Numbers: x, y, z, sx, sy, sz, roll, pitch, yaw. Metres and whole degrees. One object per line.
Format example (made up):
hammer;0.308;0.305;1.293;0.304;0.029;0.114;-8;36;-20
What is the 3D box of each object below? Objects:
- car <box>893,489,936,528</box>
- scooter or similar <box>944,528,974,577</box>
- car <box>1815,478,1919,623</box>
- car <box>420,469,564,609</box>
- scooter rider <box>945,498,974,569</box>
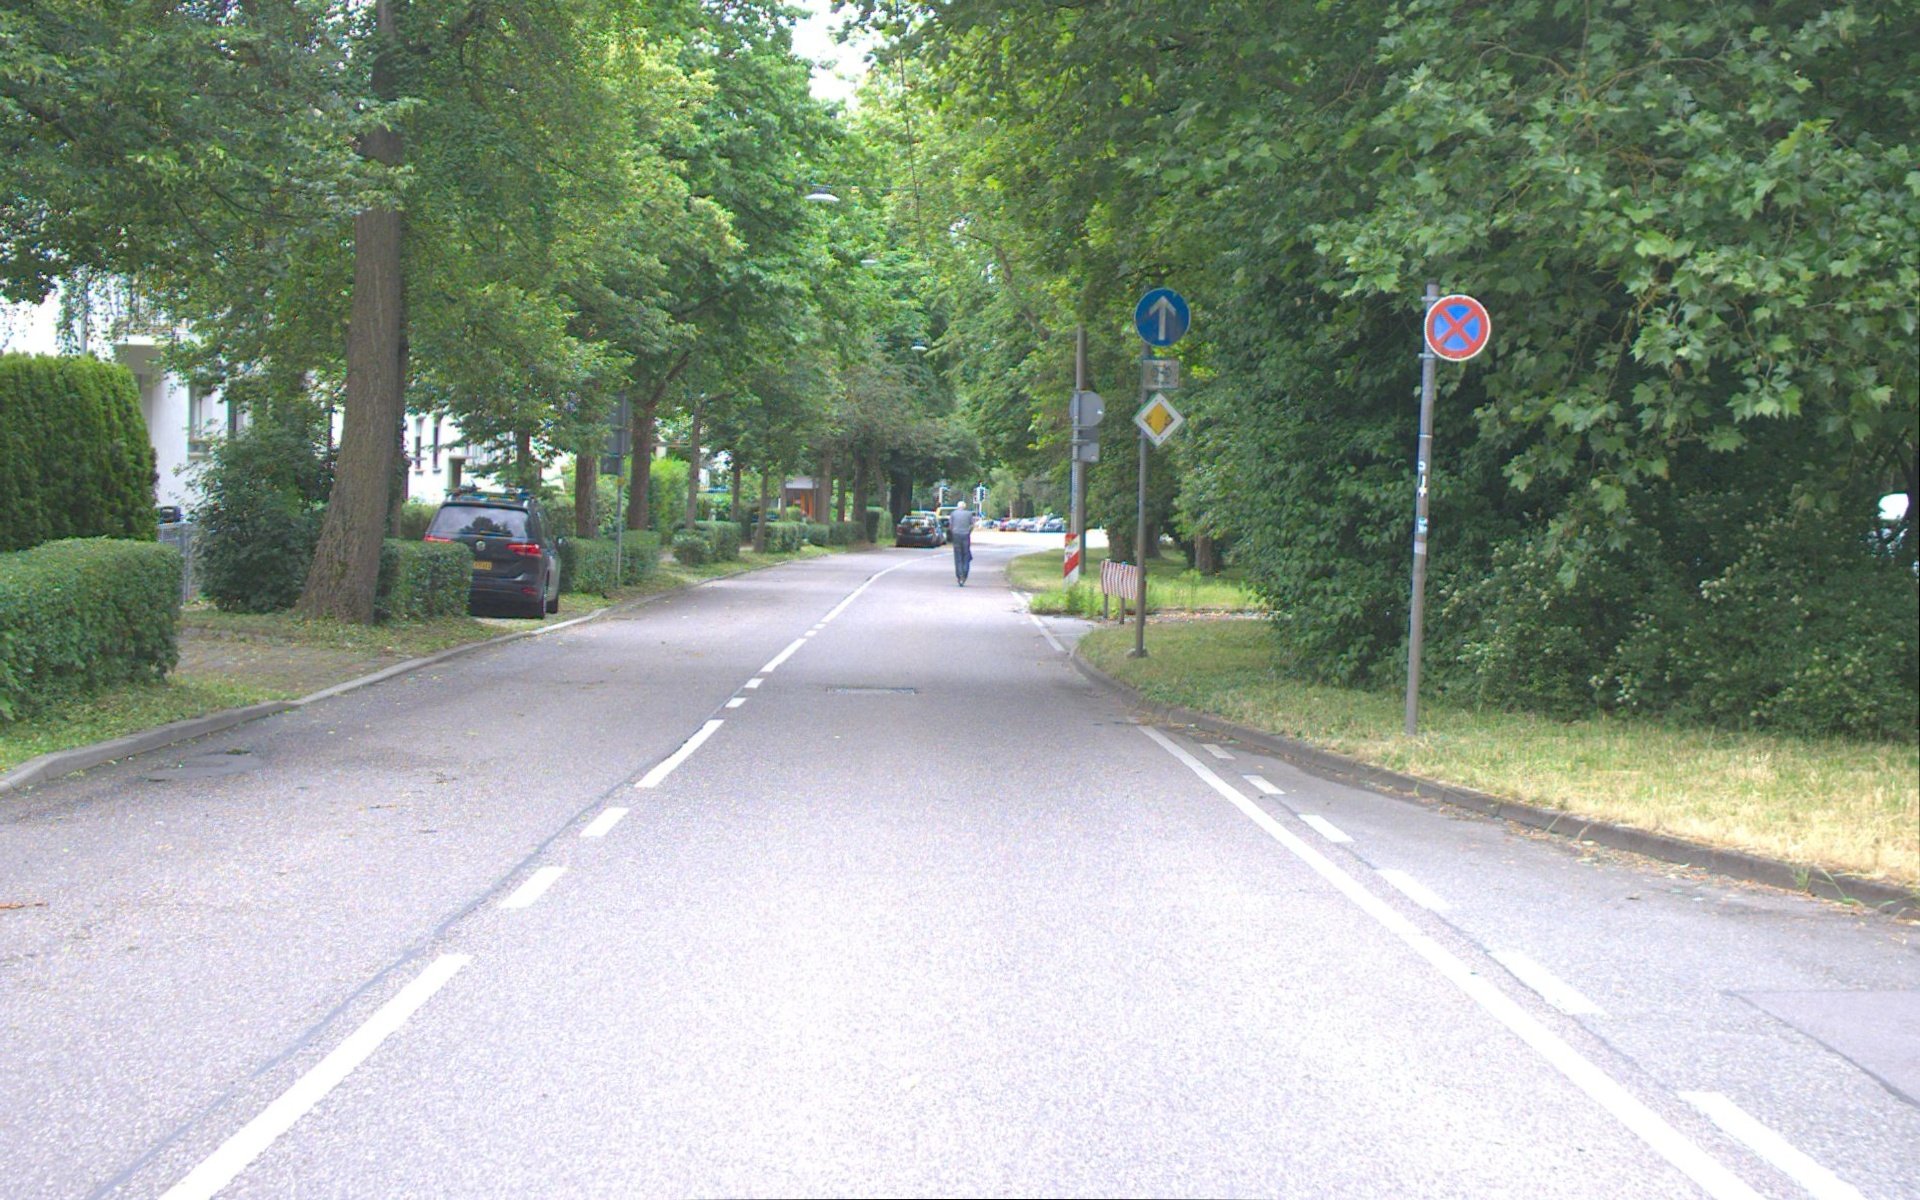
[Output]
car;-2.042;-4.156;155.959;1.834;1.493;3.657;4;3;-1
scooter or similar;-0.020;-1.054;76.300;0.601;1.051;0.873;1;3;2
car;17.570;-0.780;59.604;5.368;2.289;2.138;2;4;-35
car;-6.554;-0.893;48.420;1.642;1.718;3.801;4;3;-4
scooter rider;-0.018;-1.487;76.266;0.601;1.547;0.566;1;3;2
